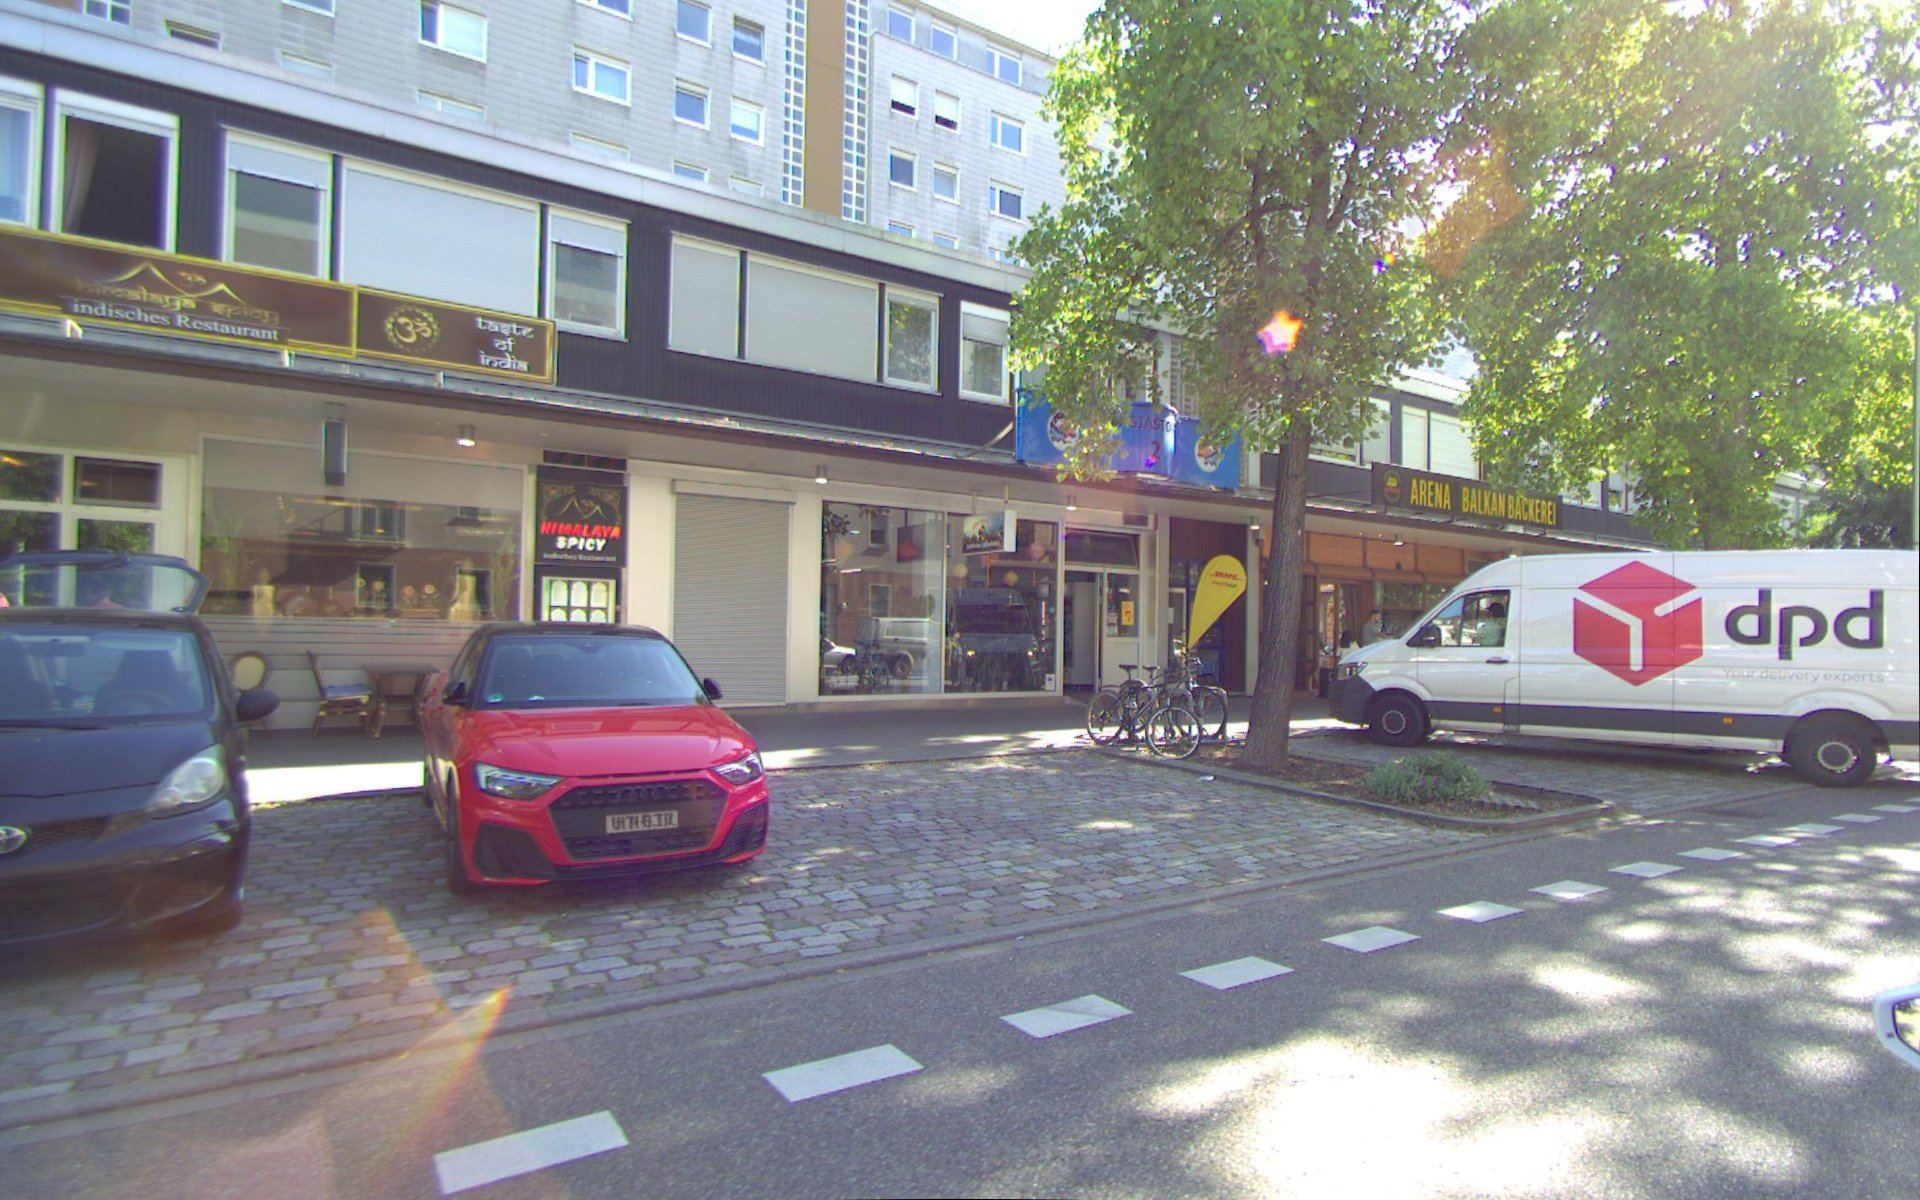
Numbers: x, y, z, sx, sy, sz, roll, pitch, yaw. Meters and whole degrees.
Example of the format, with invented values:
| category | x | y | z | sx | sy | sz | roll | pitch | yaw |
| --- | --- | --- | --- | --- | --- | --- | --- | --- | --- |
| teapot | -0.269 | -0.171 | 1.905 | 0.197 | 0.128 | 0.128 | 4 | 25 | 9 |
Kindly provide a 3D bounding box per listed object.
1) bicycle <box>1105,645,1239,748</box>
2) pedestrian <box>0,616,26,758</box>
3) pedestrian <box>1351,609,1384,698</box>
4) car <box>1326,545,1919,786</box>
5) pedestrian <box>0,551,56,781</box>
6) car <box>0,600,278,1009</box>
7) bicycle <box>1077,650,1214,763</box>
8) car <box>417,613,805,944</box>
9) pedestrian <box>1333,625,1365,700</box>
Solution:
| category | x | y | z | sx | sy | sz | roll | pitch | yaw |
| --- | --- | --- | --- | --- | --- | --- | --- | --- | --- |
| bicycle | 2.673 | 1.193 | 12.861 | 0.579 | 1.121 | 1.860 | 2 | 0 | -29 |
| pedestrian | -8.962 | 0.765 | 8.983 | 0.738 | 1.262 | 0.645 | 2 | -2 | -32 |
| pedestrian | 8.348 | 1.091 | 20.566 | 0.423 | 1.805 | 0.481 | 2 | -2 | -35 |
| car | 8.257 | 0.724 | 12.772 | 6.491 | 2.506 | 1.995 | 0 | -2 | 33 |
| pedestrian | -7.532 | 0.497 | 7.693 | 0.622 | 1.735 | 0.581 | 1 | -1 | -4 |
| car | -4.577 | 0.771 | 5.246 | 1.597 | 1.470 | 3.641 | 2 | -1 | -35 |
| bicycle | 2.153 | 1.215 | 11.888 | 0.615 | 1.132 | 1.711 | 2 | 0 | -29 |
| car | -2.591 | 0.880 | 6.786 | 1.690 | 1.470 | 3.897 | 2 | -1 | -31 |
| pedestrian | 7.861 | 1.250 | 20.306 | 0.416 | 1.492 | 0.465 | 2 | -2 | -35 |
